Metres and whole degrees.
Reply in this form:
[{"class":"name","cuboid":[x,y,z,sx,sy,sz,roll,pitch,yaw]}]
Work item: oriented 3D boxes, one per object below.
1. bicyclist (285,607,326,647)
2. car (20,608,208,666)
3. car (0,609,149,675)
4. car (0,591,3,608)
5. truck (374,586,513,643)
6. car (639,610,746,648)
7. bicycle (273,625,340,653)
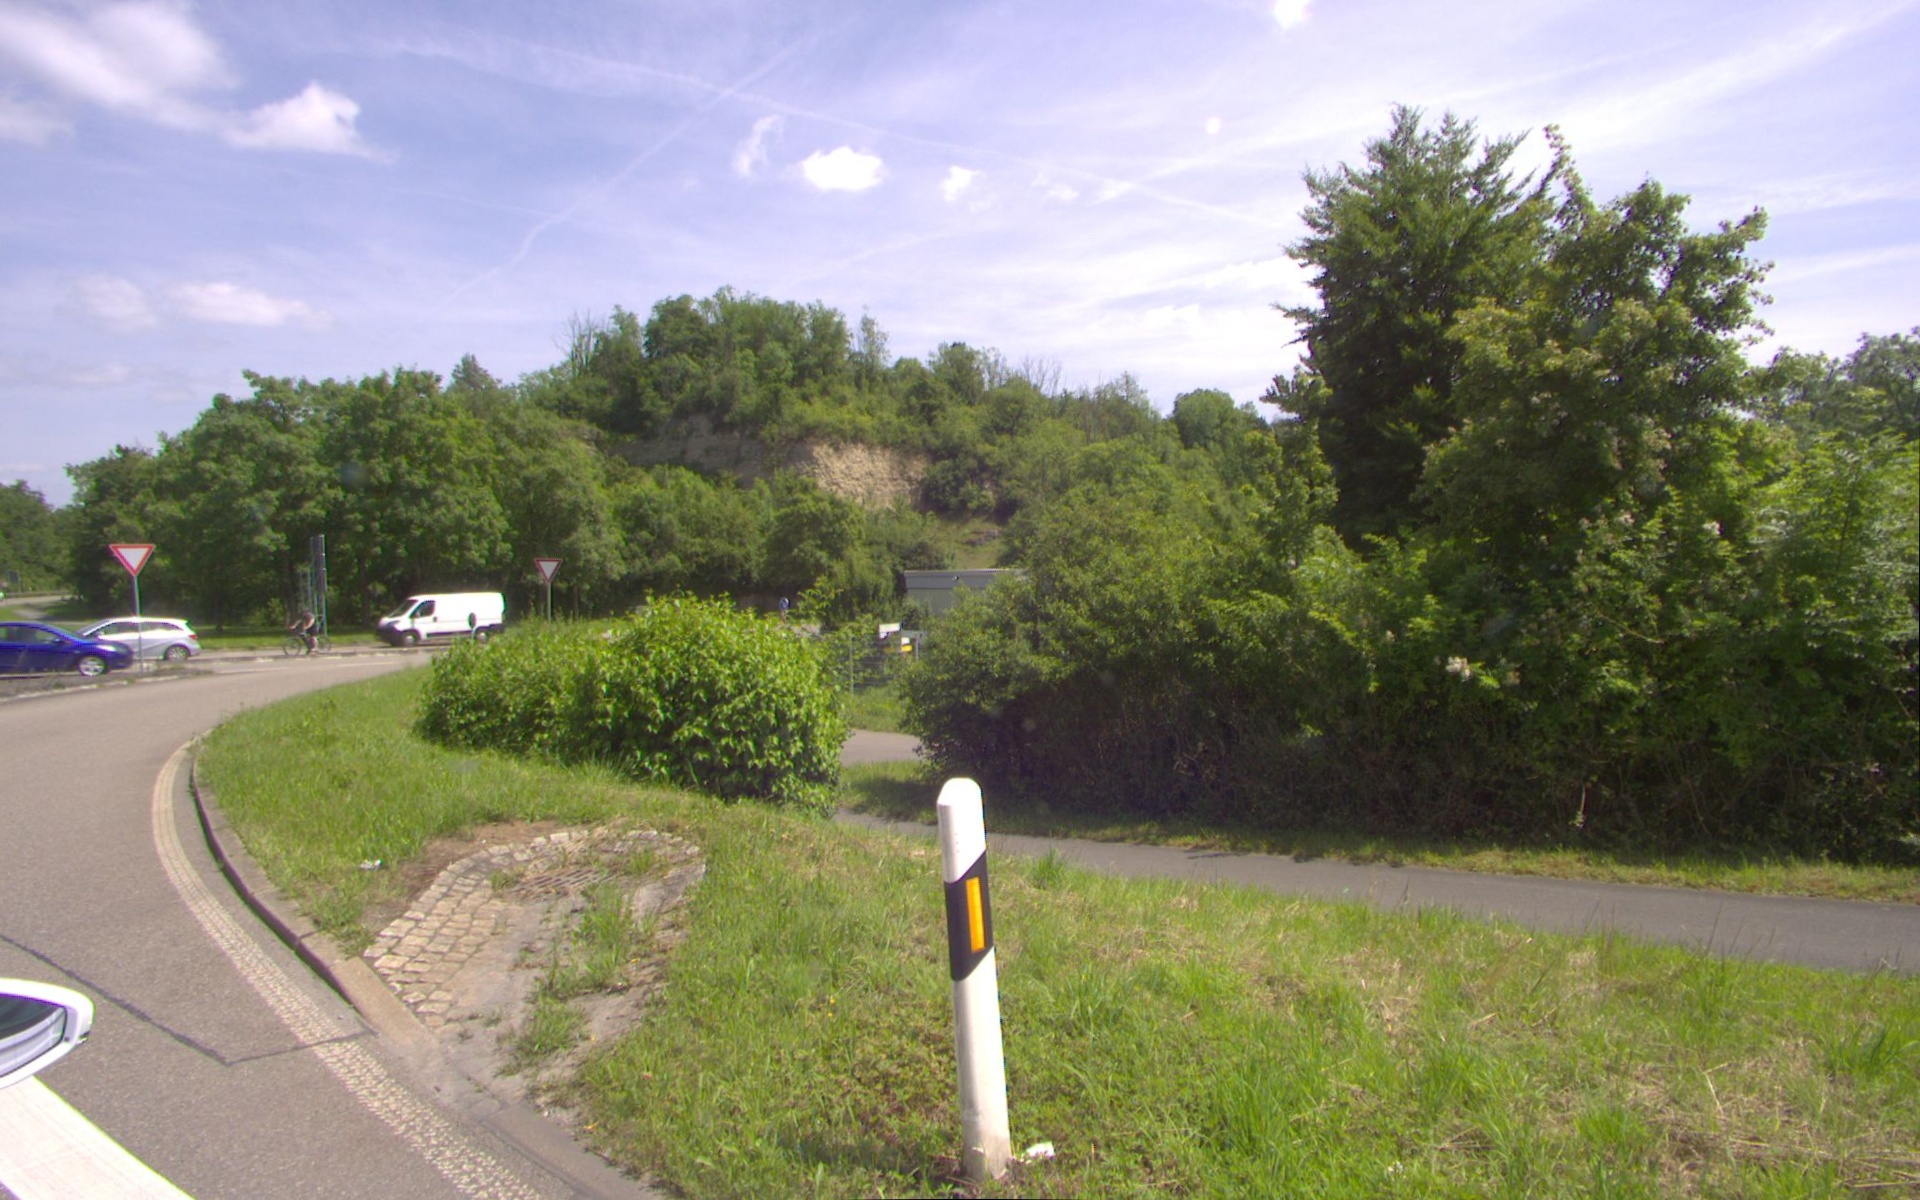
[{"class":"bicyclist","cuboid":[-24.394,1.004,37.328,0.784,1.466,1.004,-3,-2,30]},{"class":"car","cuboid":[-27.651,1.213,32.871,1.975,1.740,4.413,-3,-3,37]},{"class":"car","cuboid":[-23.894,1.114,26.277,3.804,1.633,1.872,0,-2,-31]},{"class":"car","cuboid":[-116.026,-0.089,119.422,1.972,2.041,3.976,0,1,-32]},{"class":"truck","cuboid":[-22.740,0.672,44.208,5.112,2.324,1.982,1,-3,-44]},{"class":"car","cuboid":[-11.398,1.247,42.889,1.971,1.509,4.238,-3,-3,31]},{"class":"bicycle","cuboid":[-24.376,1.444,37.388,0.785,1.008,1.987,-3,-3,29]}]
